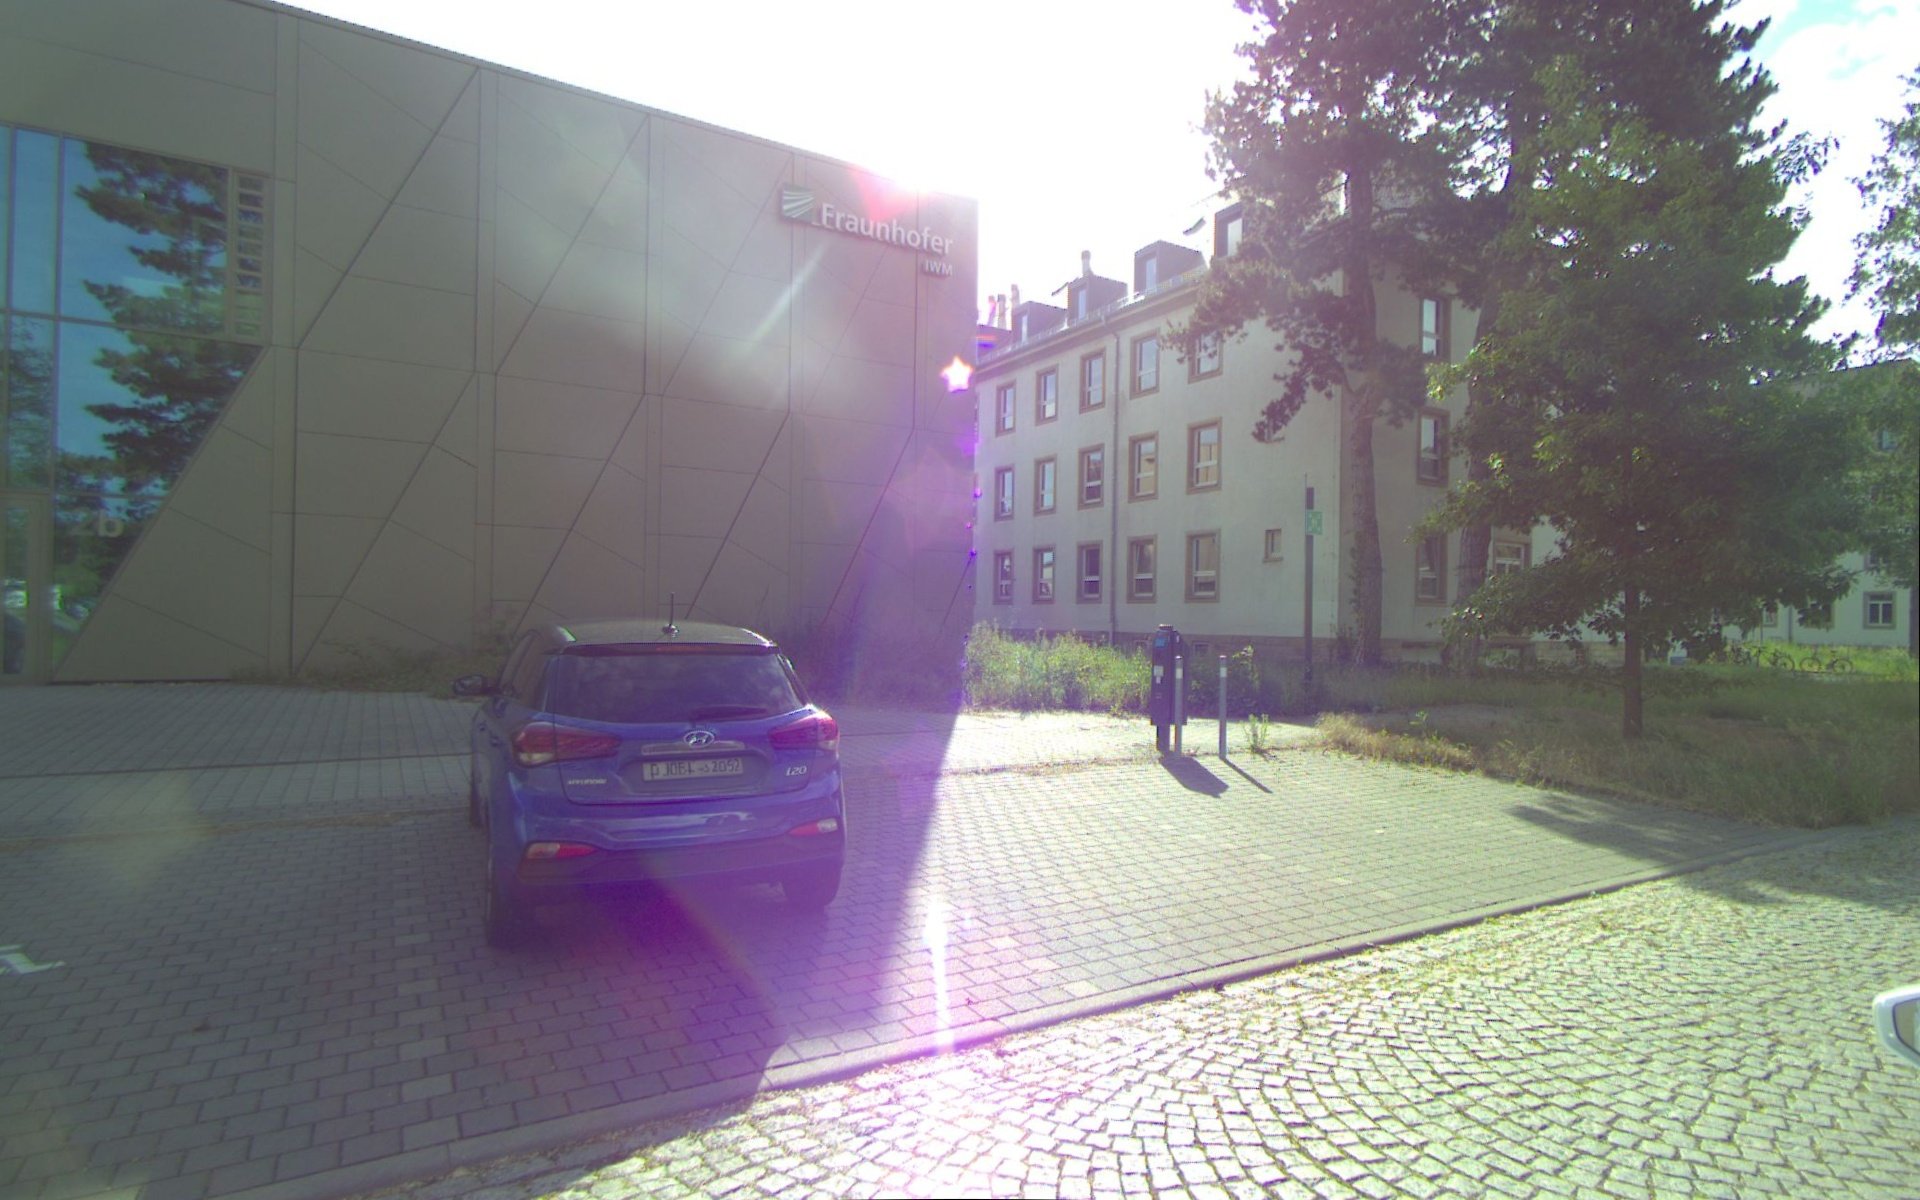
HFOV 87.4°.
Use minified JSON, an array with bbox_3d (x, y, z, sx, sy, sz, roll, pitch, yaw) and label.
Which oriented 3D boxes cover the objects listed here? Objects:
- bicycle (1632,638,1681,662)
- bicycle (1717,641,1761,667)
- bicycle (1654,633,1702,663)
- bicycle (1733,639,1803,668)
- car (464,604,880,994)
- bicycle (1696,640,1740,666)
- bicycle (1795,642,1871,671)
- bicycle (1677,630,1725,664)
[{"bbox_3d":[31.880,2.276,45.979,2.524,1.061,0.896,2,-1,-31],"label":"bicycle"},{"bbox_3d":[33.491,2.324,43.171,2.100,1.061,0.822,2,-1,-31],"label":"bicycle"},{"bbox_3d":[32.328,2.171,45.200,2.524,1.298,0.822,2,-1,-31],"label":"bicycle"},{"bbox_3d":[33.158,2.179,41.271,0.820,1.123,2.104,2,-1,-33],"label":"bicycle"},{"bbox_3d":[-2.031,0.832,6.136,1.698,1.483,3.820,2,0,-27],"label":"car"},{"bbox_3d":[33.068,2.311,43.825,2.100,1.061,0.822,2,-1,-31],"label":"bicycle"},{"bbox_3d":[34.290,2.210,39.483,0.820,1.061,2.104,2,-1,-33],"label":"bicycle"},{"bbox_3d":[32.968,2.098,44.687,2.524,1.456,0.822,2,-1,-31],"label":"bicycle"}]
